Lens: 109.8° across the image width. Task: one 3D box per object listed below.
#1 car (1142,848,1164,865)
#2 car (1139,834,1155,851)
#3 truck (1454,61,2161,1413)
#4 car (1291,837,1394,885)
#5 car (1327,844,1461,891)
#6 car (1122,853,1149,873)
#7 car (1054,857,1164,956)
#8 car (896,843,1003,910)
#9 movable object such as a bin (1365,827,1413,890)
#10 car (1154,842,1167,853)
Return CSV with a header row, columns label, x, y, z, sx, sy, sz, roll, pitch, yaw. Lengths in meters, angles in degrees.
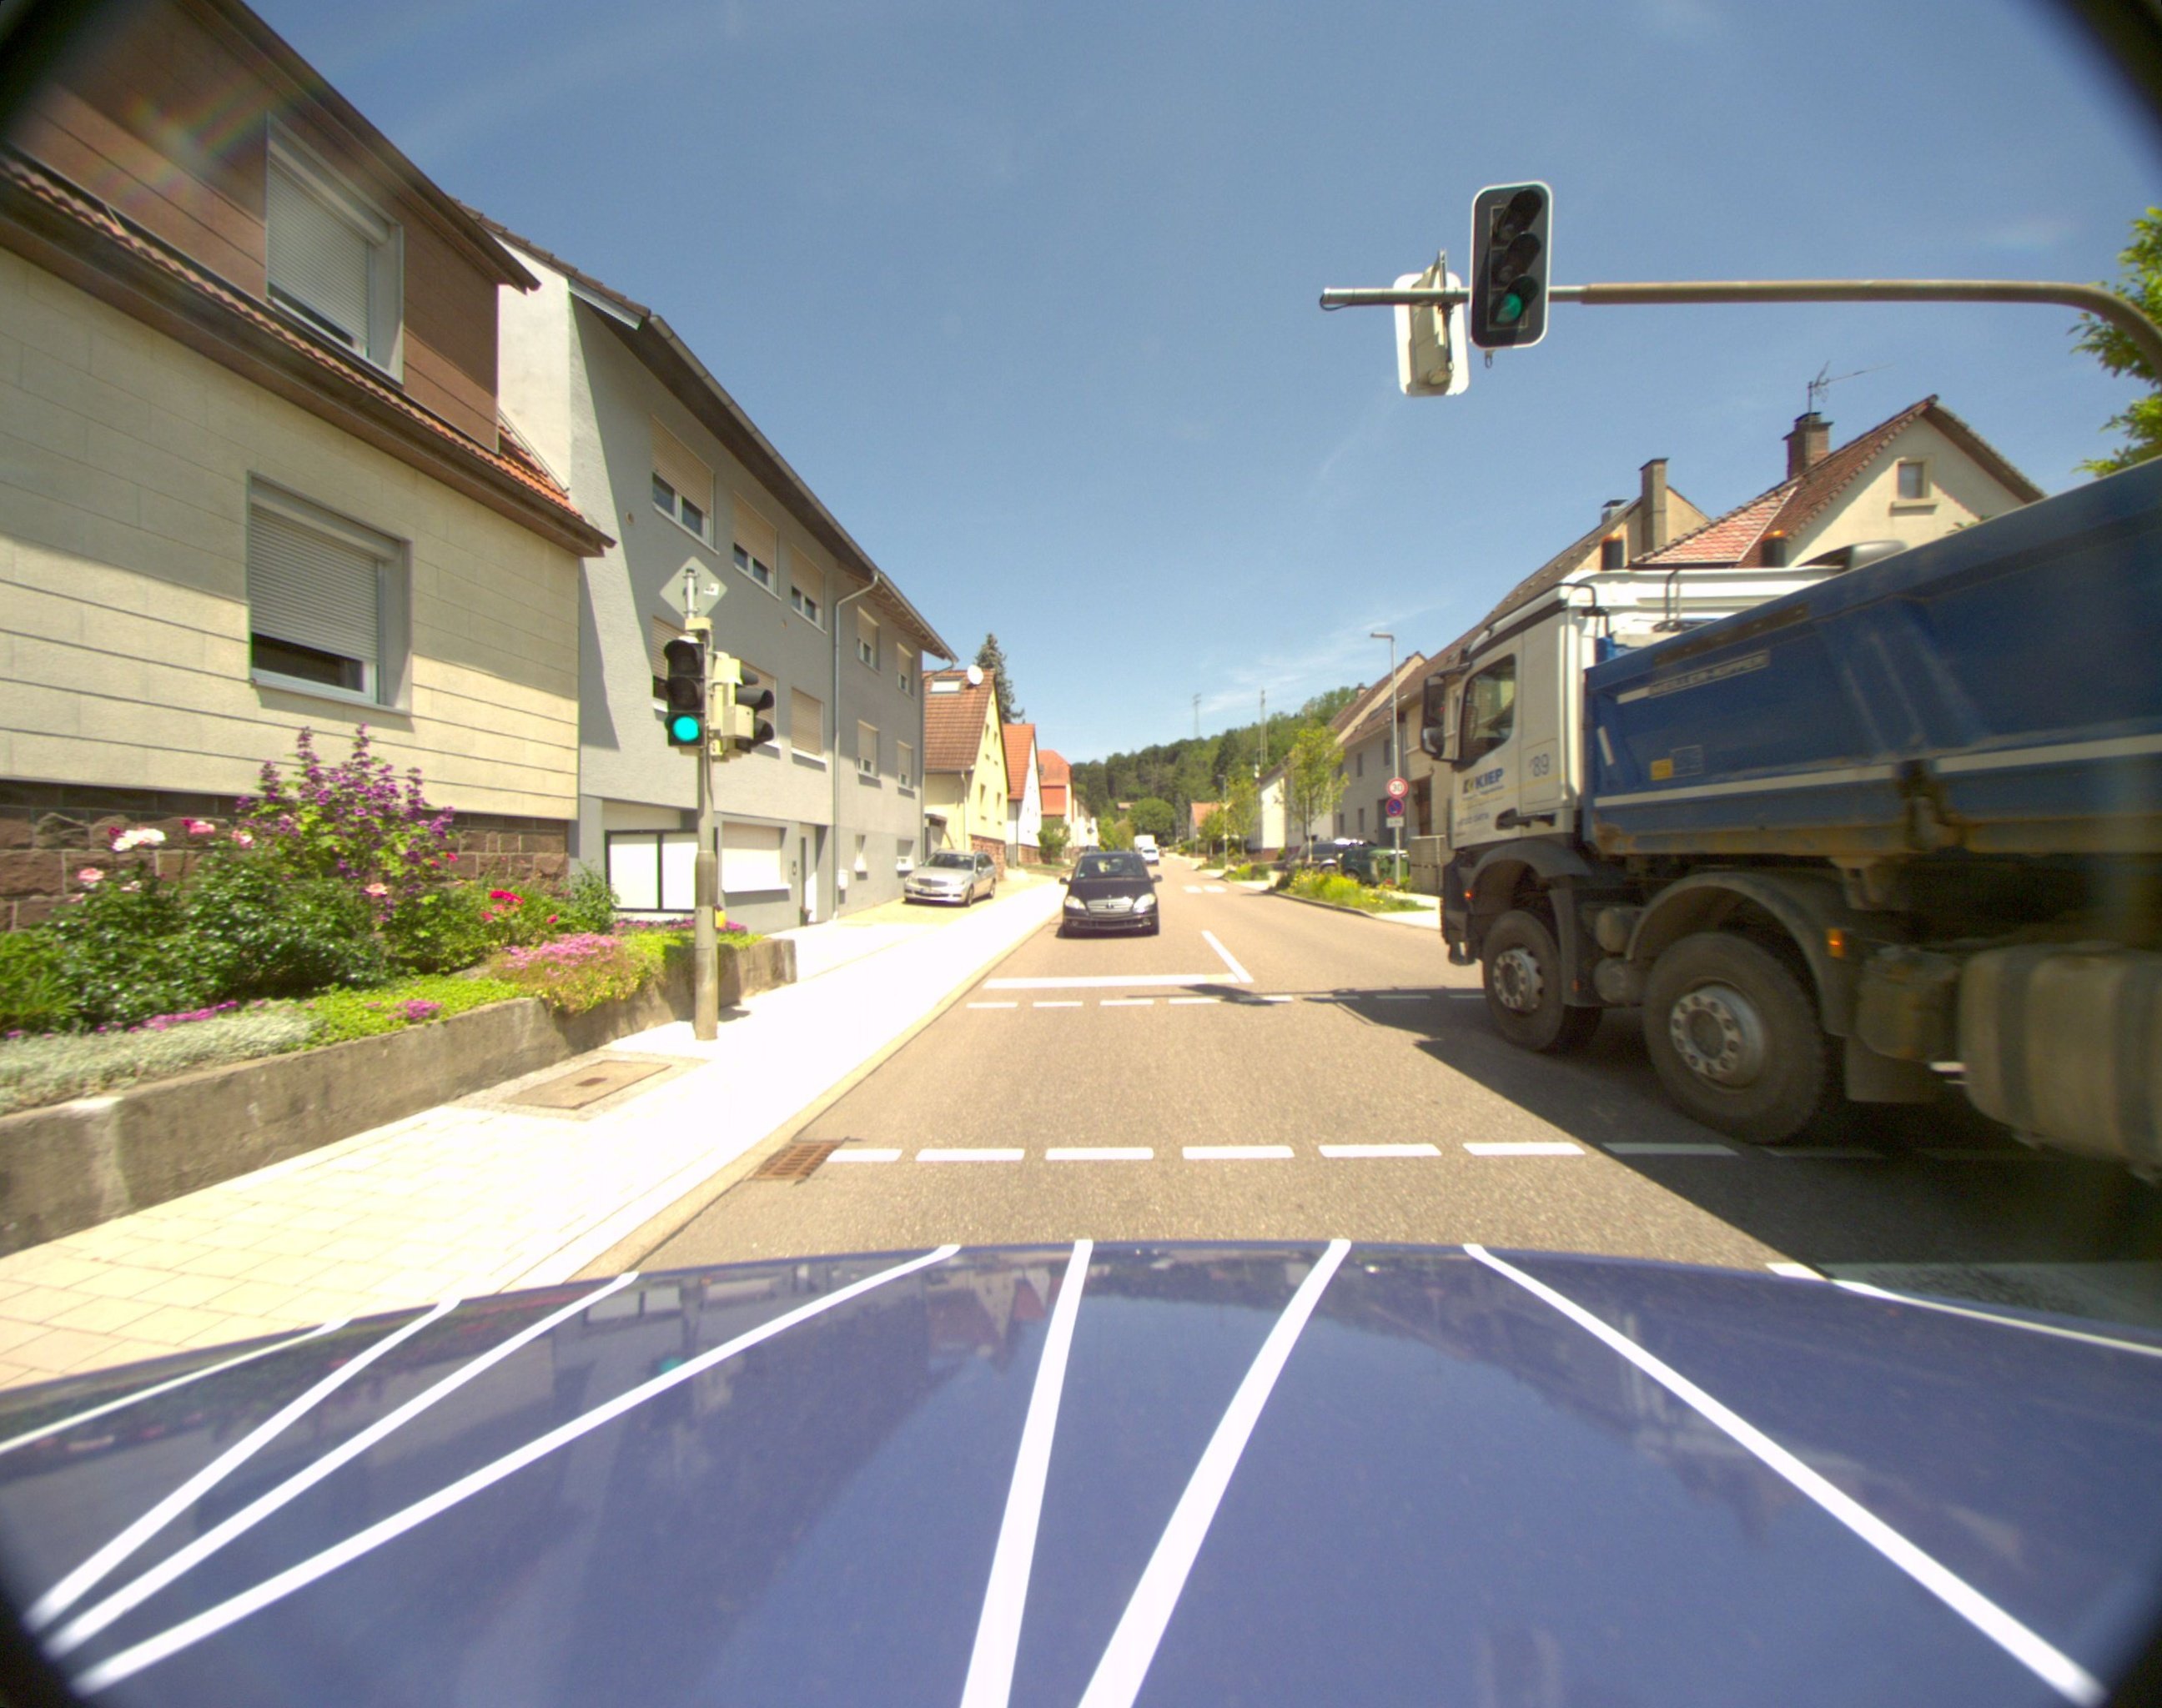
label,x,y,z,sx,sy,sz,roll,pitch,yaw
car,7.524,0.224,79.475,1.998,1.716,4.000,-2,0,3
car,9.053,-1.586,103.601,1.986,2.170,4.001,-2,1,7
truck,4.304,-0.325,2.623,2.547,3.716,8.625,0,0,6
car,10.709,0.274,31.291,3.605,1.780,1.848,-2,1,3
car,11.090,0.469,27.046,4.040,1.491,1.707,-1,1,42
car,4.460,0.689,62.614,1.998,1.477,4.222,-2,0,3
car,0.685,0.887,15.060,1.766,1.572,4.933,-2,0,5
car,-3.610,0.540,21.739,1.866,1.612,4.509,3,1,5
movable object such as a bin,10.278,0.138,25.405,1.061,2.002,1.323,-2,1,4
car,15.317,-1.297,146.084,2.370,1.990,5.174,-2,1,7
